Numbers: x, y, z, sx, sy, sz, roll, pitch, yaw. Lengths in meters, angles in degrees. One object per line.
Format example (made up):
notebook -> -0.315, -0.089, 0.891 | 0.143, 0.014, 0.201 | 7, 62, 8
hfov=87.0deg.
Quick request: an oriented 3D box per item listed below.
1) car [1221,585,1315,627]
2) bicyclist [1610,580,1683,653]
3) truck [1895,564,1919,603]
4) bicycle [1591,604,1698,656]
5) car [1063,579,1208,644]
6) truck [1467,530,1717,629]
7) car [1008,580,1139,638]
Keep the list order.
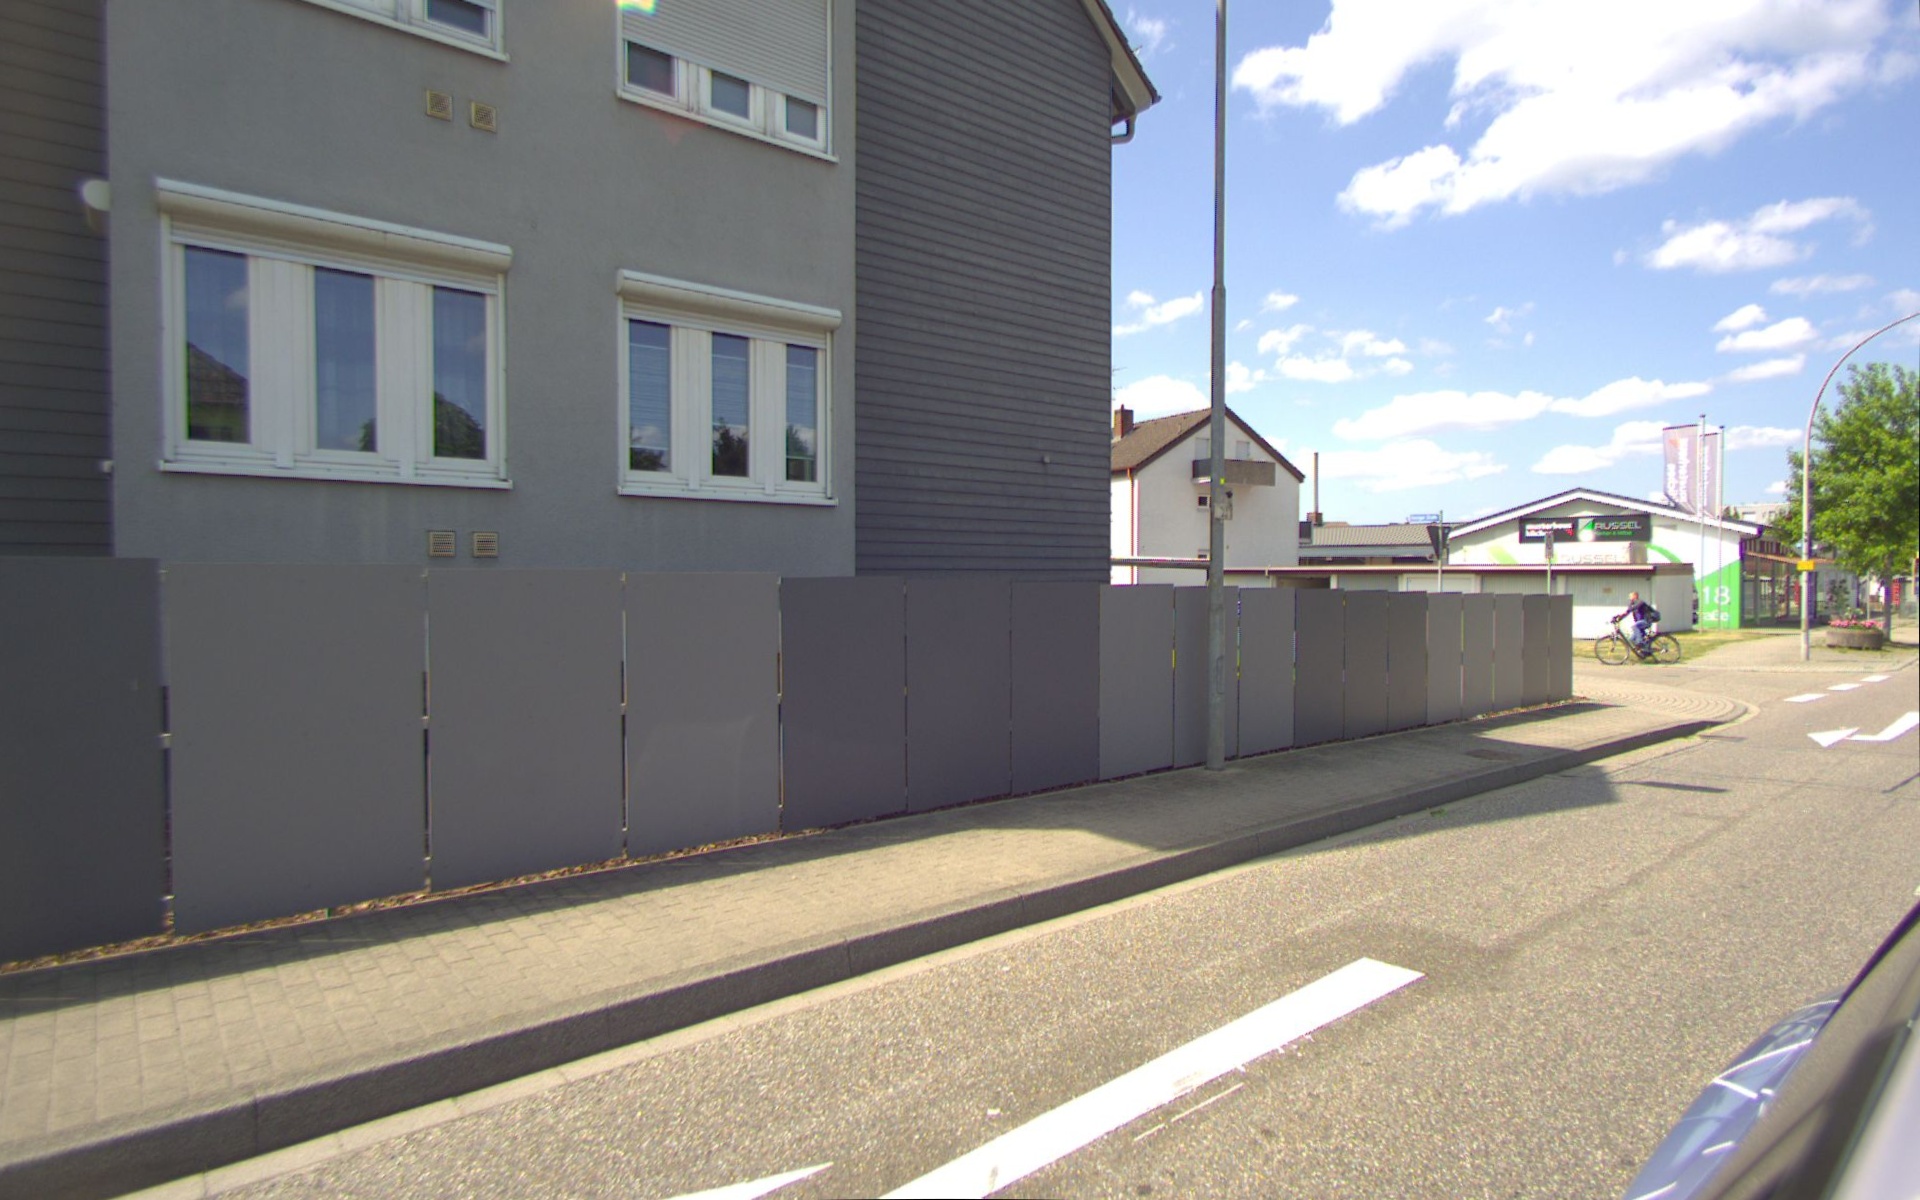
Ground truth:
car -> 12.158, 0.198, 39.855 | 4.060, 1.522, 1.678 | -1, 1, -41
bicyclist -> 15.721, 0.370, 23.202 | 1.090, 1.651, 0.806 | 0, -1, -2
truck -> 72.201, -1.244, 76.066 | 2.571, 2.795, 6.240 | 3, 3, 41
bicycle -> 15.676, 0.680, 23.206 | 1.905, 1.180, 0.806 | 0, -1, -2
car -> 5.001, 0.331, 28.546 | 4.139, 1.669, 1.741 | 2, 0, -40
truck -> 25.299, -0.829, 40.904 | 2.633, 3.617, 8.180 | -2, 2, -42
car -> 3.456, 0.278, 30.489 | 3.784, 1.607, 1.741 | 2, 0, -40
